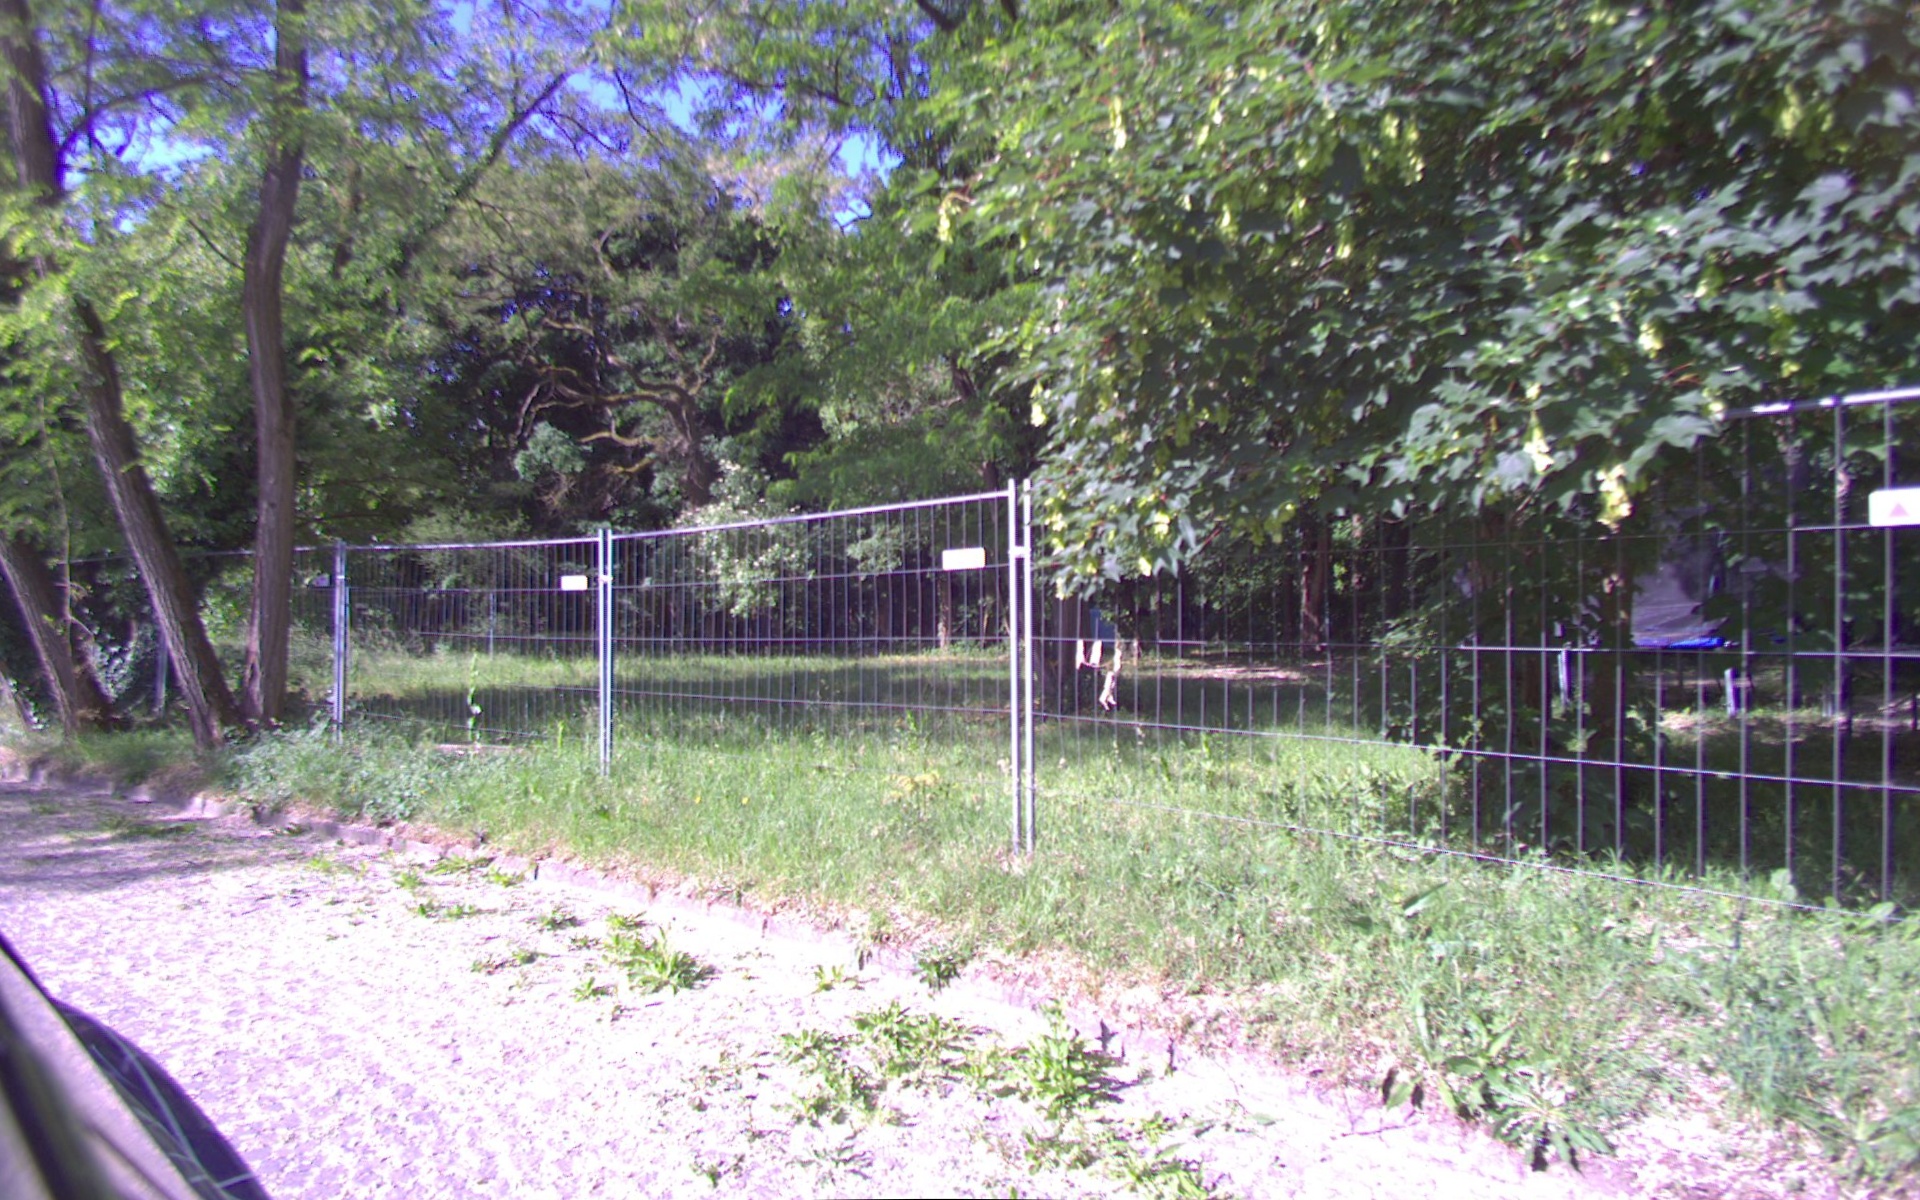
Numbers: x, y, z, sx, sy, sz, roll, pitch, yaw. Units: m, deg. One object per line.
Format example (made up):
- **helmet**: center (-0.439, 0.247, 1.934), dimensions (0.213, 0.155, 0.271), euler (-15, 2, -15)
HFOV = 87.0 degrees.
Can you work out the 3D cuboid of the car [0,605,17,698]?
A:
- **car**: center (-18.853, 1.014, 16.846), dimensions (1.779, 1.664, 4.273), euler (-1, 2, 19)
